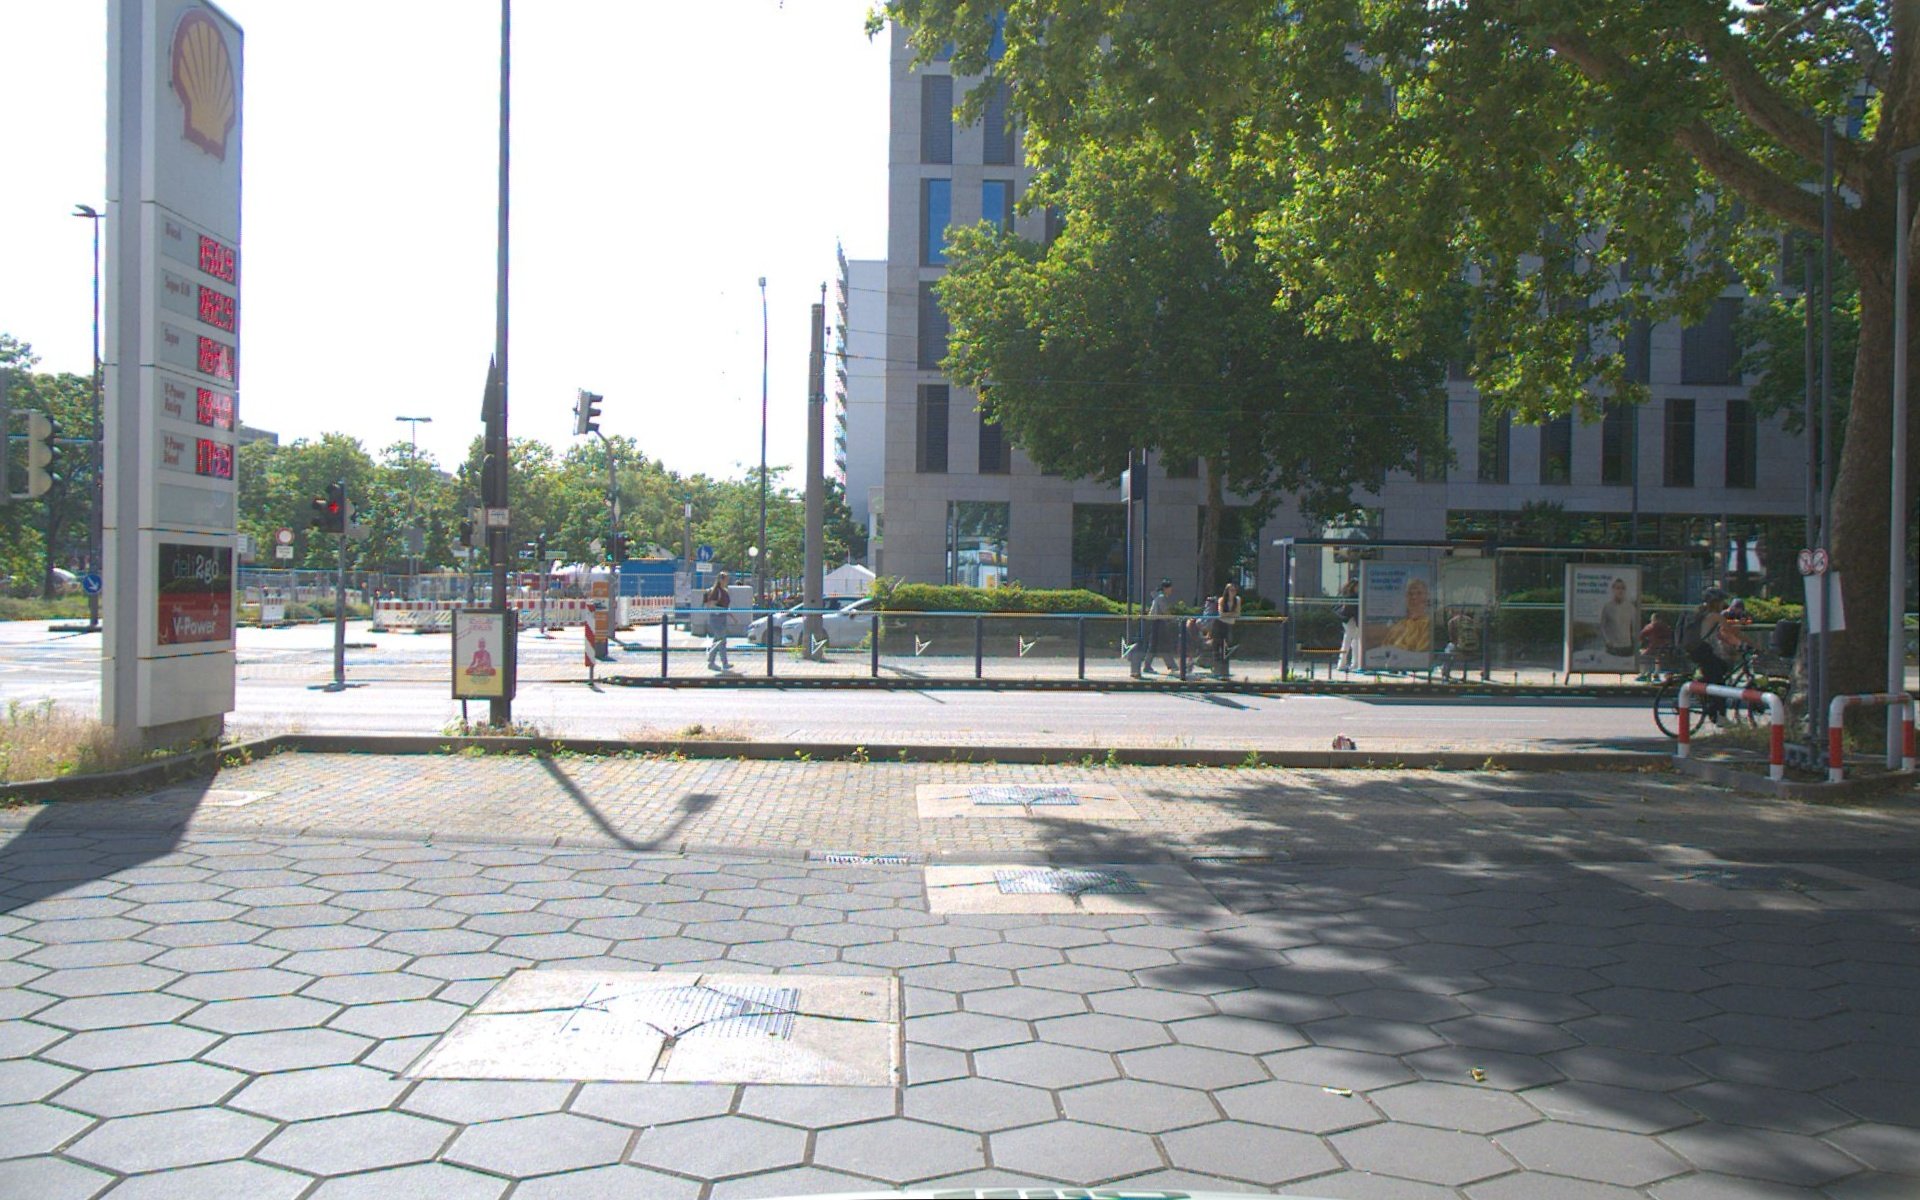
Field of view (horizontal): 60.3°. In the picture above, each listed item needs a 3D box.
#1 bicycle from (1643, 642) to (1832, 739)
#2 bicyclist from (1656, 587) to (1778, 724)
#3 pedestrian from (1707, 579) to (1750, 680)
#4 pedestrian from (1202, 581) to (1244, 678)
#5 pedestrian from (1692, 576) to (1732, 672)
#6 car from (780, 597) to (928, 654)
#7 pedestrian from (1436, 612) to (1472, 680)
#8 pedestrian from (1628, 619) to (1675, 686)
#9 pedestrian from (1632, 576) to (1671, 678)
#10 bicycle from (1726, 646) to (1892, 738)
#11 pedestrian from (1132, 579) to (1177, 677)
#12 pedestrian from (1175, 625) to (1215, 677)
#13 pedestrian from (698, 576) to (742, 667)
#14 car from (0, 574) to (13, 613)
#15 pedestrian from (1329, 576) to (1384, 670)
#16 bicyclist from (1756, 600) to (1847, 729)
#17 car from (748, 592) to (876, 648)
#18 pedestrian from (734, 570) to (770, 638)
[{"bbox_3d":[9.272,1.077,19.758,1.979,1.101,0.639,1,0,-3],"label":"bicycle"},{"bbox_3d":[9.024,0.651,19.739,1.146,1.608,0.639,1,0,-3],"label":"bicyclist"},{"bbox_3d":[13.494,0.511,29.055,0.488,1.766,0.524,1,0,0],"label":"pedestrian"},{"bbox_3d":[4.525,0.499,28.481,0.572,1.619,0.670,1,2,-3],"label":"pedestrian"},{"bbox_3d":[13.922,0.439,30.623,0.488,1.766,0.524,1,0,0],"label":"pedestrian"},{"bbox_3d":[-2.623,0.618,41.381,3.607,1.335,1.591,1,0,-2],"label":"car"},{"bbox_3d":[8.620,0.801,28.867,0.488,1.158,0.524,1,0,4],"label":"pedestrian"},{"bbox_3d":[12.163,0.915,29.111,0.615,1.157,0.524,1,0,4],"label":"pedestrian"},{"bbox_3d":[12.208,0.472,29.201,0.488,1.766,0.406,1,0,0],"label":"pedestrian"},{"bbox_3d":[10.555,1.139,20.582,1.824,1.101,0.524,1,0,-4],"label":"bicycle"},{"bbox_3d":[3.465,0.494,29.507,0.760,1.712,0.503,1,0,6],"label":"pedestrian"},{"bbox_3d":[4.179,0.905,29.424,0.676,0.895,0.503,1,0,6],"label":"pedestrian"},{"bbox_3d":[-4.188,0.378,28.893,0.636,1.567,0.503,1,0,6],"label":"pedestrian"},{"bbox_3d":[-48.456,-0.272,80.161,3.904,1.847,2.000,-1,0,2],"label":"car"},{"bbox_3d":[7.351,0.417,30.698,0.912,1.712,0.503,1,0,6],"label":"pedestrian"},{"bbox_3d":[10.474,0.790,20.597,0.846,1.571,0.534,1,0,-4],"label":"bicyclist"},{"bbox_3d":[-4.302,0.571,47.917,3.613,1.579,1.589,1,0,-8],"label":"car"},{"bbox_3d":[-7.085,0.128,56.432,1.086,2.287,1.102,1,0,-2],"label":"pedestrian"}]
